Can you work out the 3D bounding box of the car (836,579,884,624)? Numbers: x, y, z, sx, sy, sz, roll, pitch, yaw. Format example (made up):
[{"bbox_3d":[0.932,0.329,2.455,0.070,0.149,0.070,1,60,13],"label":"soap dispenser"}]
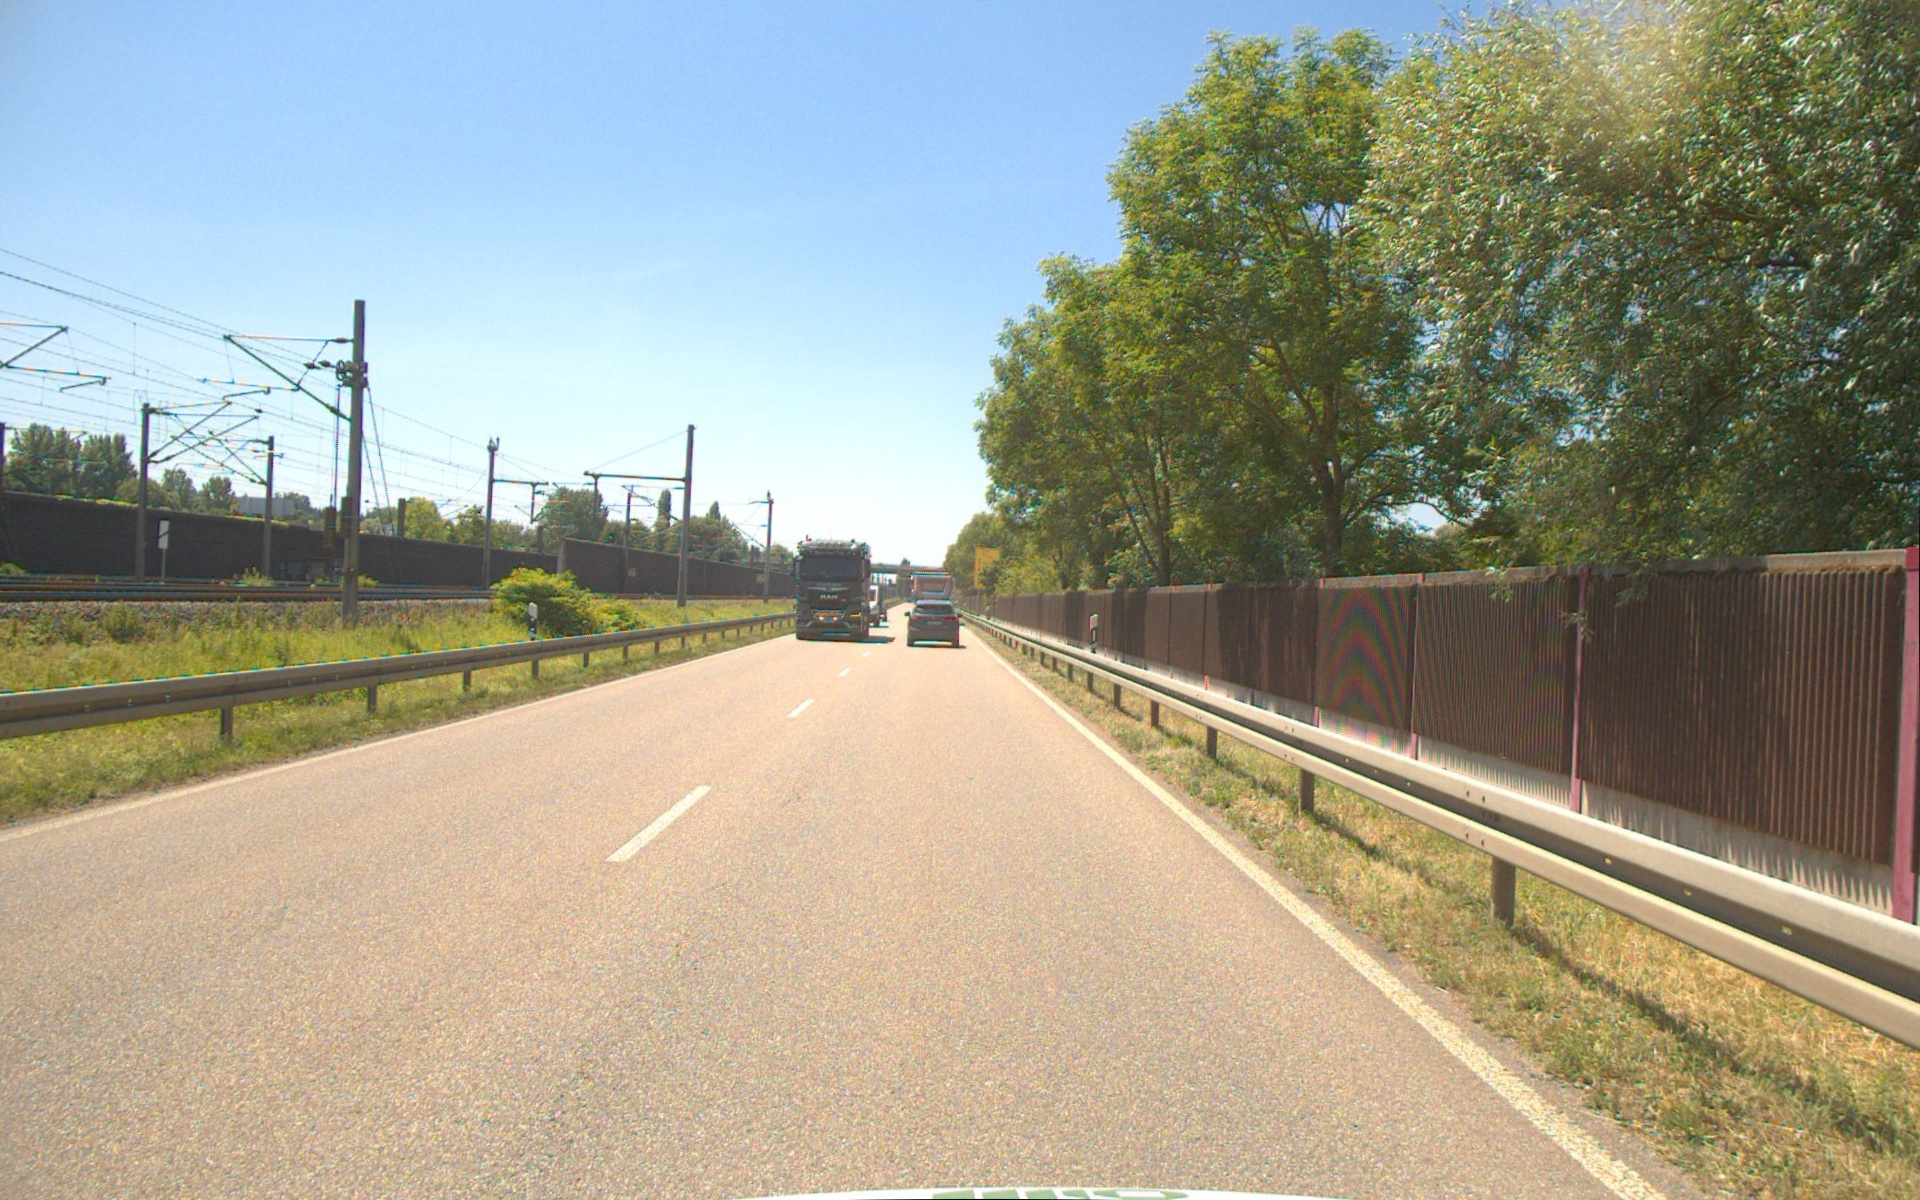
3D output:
[{"bbox_3d":[-5.497,0.094,91.915,2.215,2.327,6.235,2,0,0],"label":"car"}]

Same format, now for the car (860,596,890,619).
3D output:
[{"bbox_3d":[-6.022,0.494,116.952,1.935,1.534,4.161,2,0,-1],"label":"car"}]

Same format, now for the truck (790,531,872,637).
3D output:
[{"bbox_3d":[-4.878,-0.609,64.449,2.605,3.690,10.973,2,0,-2],"label":"truck"}]

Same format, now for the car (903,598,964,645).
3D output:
[{"bbox_3d":[-0.942,0.721,57.190,1.954,1.534,3.998,1,0,-3],"label":"car"}]

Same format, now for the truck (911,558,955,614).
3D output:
[{"bbox_3d":[-1.804,-0.914,111.186,2.714,3.485,10.817,1,0,-1],"label":"truck"}]
